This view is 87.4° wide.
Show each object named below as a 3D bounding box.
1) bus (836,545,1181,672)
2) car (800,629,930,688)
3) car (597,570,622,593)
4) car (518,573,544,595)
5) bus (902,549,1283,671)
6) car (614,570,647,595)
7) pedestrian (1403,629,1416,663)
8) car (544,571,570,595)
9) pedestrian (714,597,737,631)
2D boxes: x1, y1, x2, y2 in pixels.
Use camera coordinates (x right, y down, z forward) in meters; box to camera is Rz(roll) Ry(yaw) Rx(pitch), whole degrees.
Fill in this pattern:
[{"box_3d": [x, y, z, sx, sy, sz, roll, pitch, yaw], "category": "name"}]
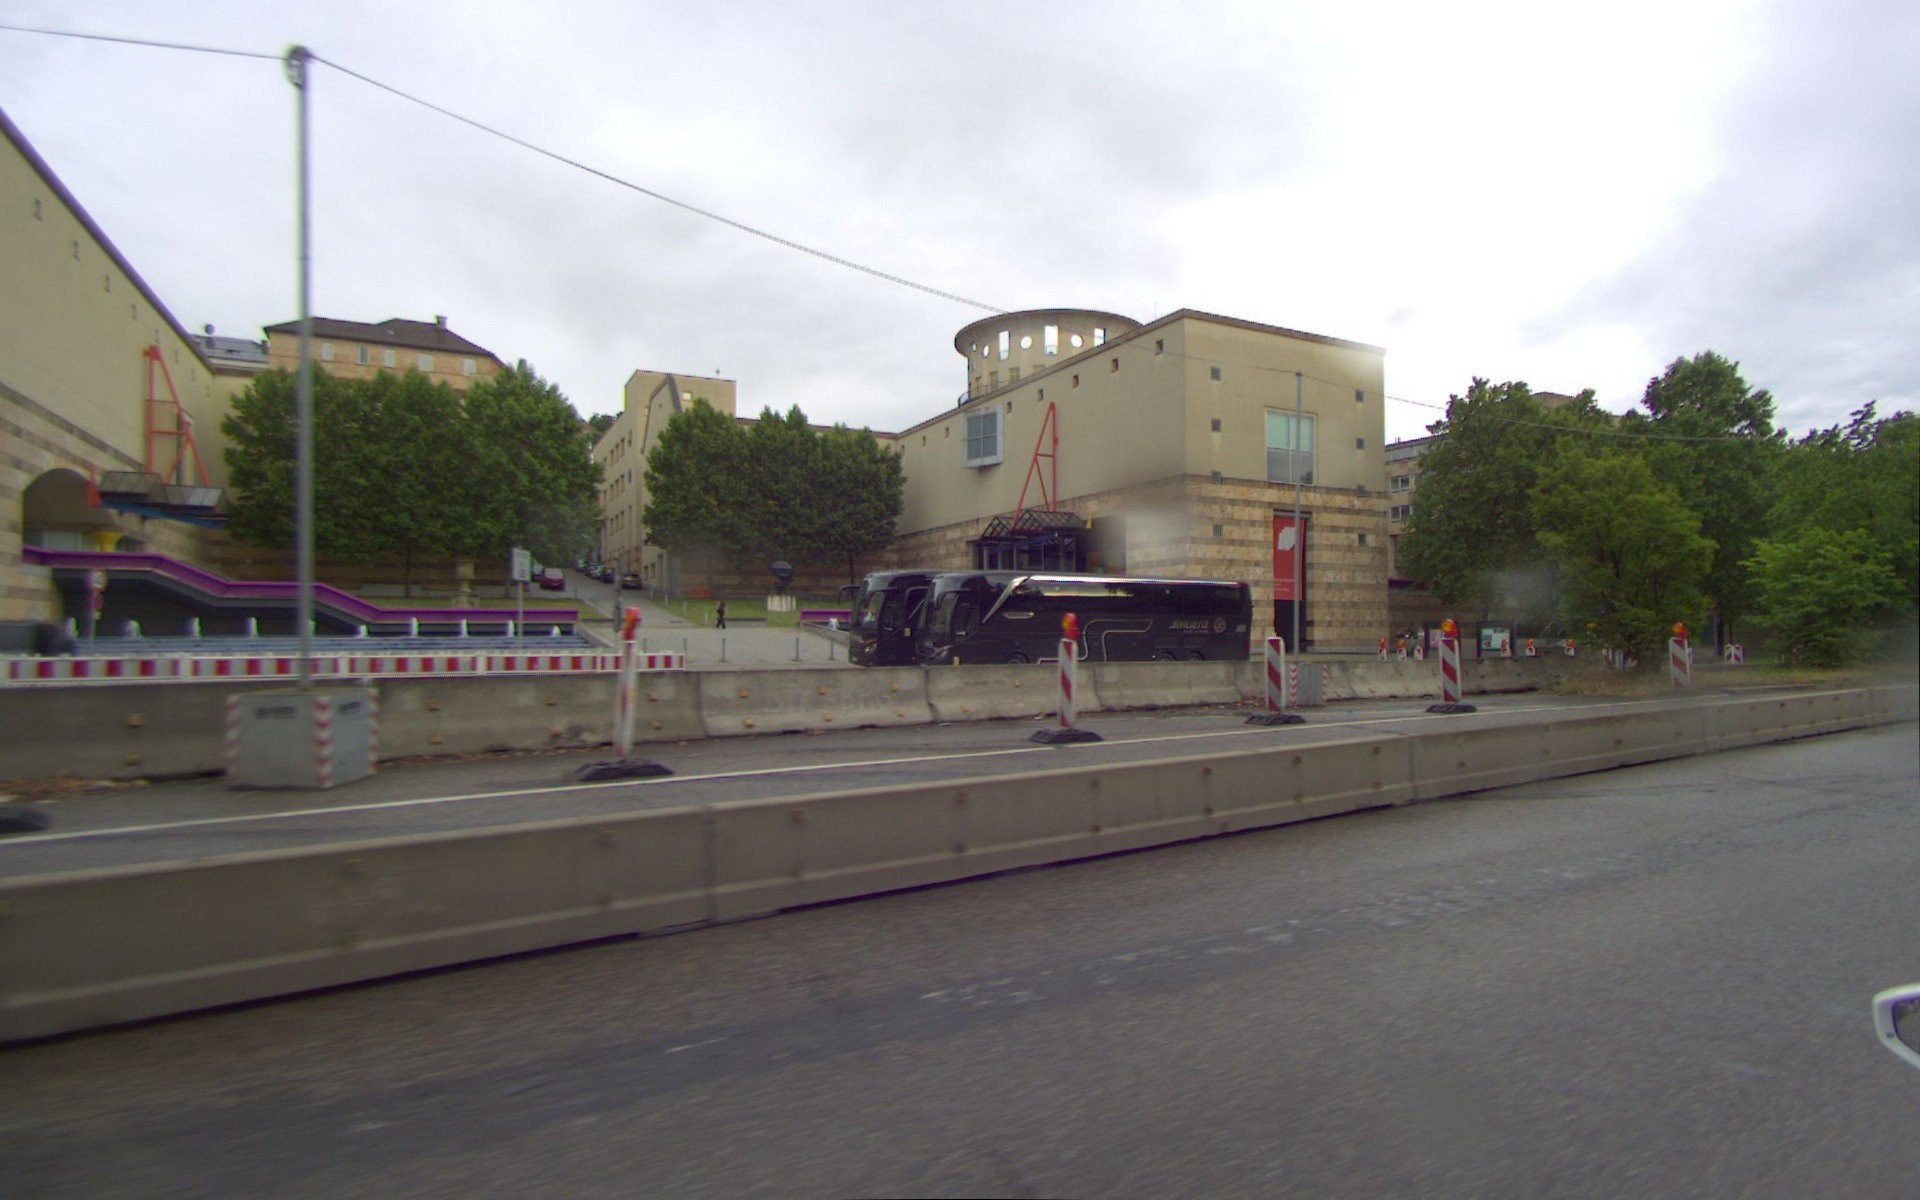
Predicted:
[{"box_3d": [2.117, 0.401, 38.438, 13.314, 4.309, 3.108, 1, 0, -26], "category": "bus"}, {"box_3d": [-2.572, 1.593, 27.368, 3.179, 1.520, 1.583, 2, -4, -32], "category": "car"}, {"box_3d": [-36.895, -1.899, 105.750, 1.974, 2.039, 3.975, 2, -4, -26], "category": "car"}, {"box_3d": [-42.038, -1.556, 98.368, 1.793, 1.805, 3.968, 2, -4, -31], "category": "car"}, {"box_3d": [5.122, 0.433, 36.152, 14.401, 3.862, 2.795, 1, 0, -26], "category": "bus"}, {"box_3d": [-30.836, -1.609, 93.873, 1.979, 2.039, 3.965, 2, -4, -33], "category": "car"}, {"box_3d": [27.386, 2.811, 61.212, 0.505, 2.040, 0.476, 2, -4, -28], "category": "pedestrian"}, {"box_3d": [-36.343, -1.502, 90.509, 1.680, 1.817, 3.934, 2, -4, -28], "category": "car"}, {"box_3d": [-12.083, 0.716, 51.734, 0.935, 1.738, 0.684, 1, -1, 11], "category": "pedestrian"}]
